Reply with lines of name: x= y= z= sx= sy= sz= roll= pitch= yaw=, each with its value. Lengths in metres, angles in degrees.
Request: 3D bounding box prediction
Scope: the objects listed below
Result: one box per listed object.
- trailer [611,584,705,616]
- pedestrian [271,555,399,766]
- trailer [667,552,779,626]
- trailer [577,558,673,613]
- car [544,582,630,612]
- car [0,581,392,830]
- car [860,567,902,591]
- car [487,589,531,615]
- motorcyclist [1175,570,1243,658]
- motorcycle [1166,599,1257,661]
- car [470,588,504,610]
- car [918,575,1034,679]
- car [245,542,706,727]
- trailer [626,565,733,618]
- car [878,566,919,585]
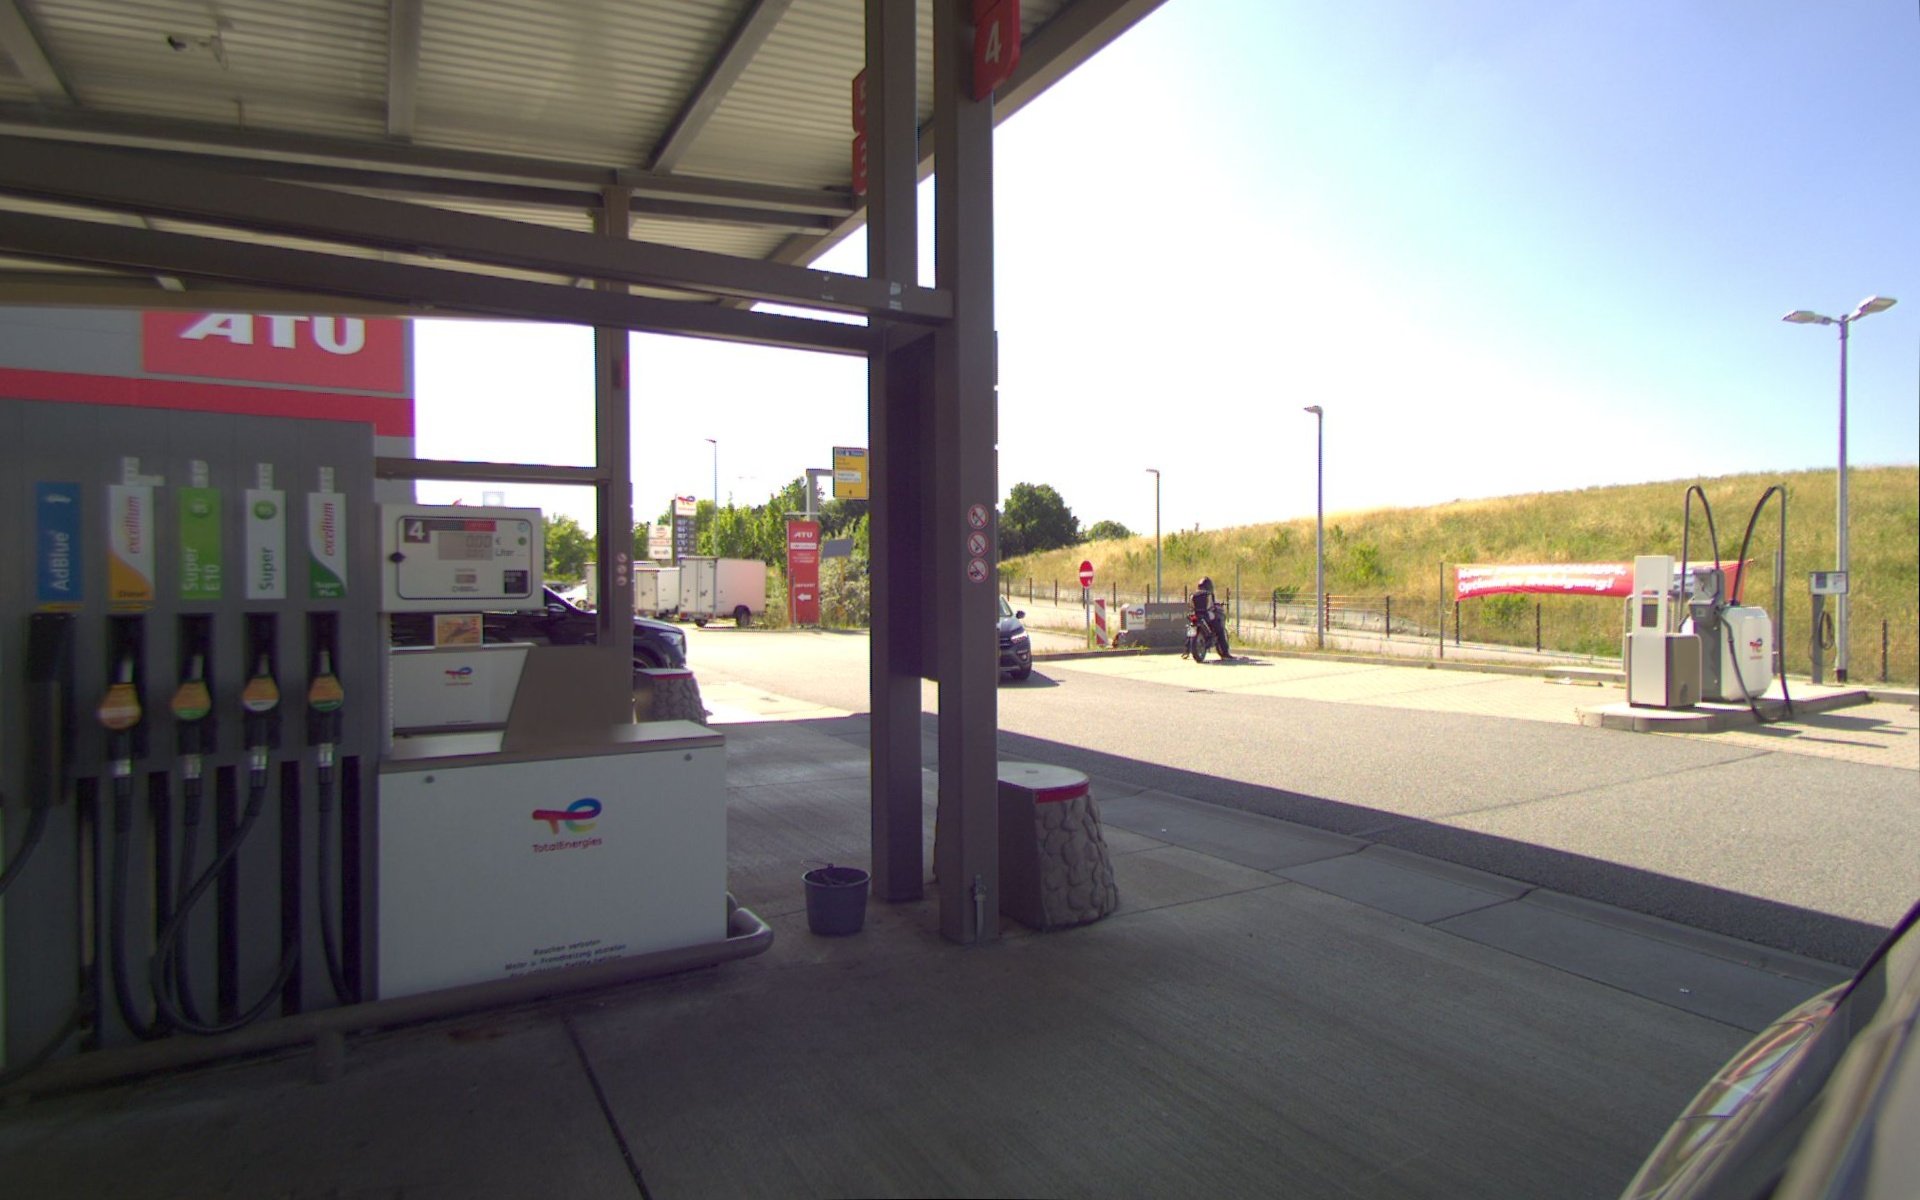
trailer: x=-12.770 y=-0.018 z=42.927 sx=1.568 sy=1.297 sz=3.673 roll=1 pitch=1 yaw=34
pedestrian: x=-5.408 y=0.487 z=8.809 sx=0.909 sy=1.724 sz=0.704 roll=0 pitch=0 yaw=-30
trailer: x=-8.345 y=-0.399 z=35.944 sx=1.976 sy=2.457 sz=3.971 roll=1 pitch=1 yaw=22
trailer: x=-15.649 y=-0.706 z=47.415 sx=1.985 sy=2.457 sz=3.955 roll=1 pitch=1 yaw=32
car: x=-17.774 y=-0.167 z=48.340 sx=1.664 sy=1.334 sz=3.802 roll=1 pitch=1 yaw=26
car: x=-6.199 y=0.618 z=6.766 sx=4.149 sy=1.487 sz=1.706 roll=0 pitch=1 yaw=-31
car: x=-5.259 y=-1.405 z=67.078 sx=1.671 sy=1.441 sz=4.105 roll=0 pitch=2 yaw=-21
car: x=-24.489 y=0.093 z=54.907 sx=1.648 sy=1.334 sz=3.838 roll=0 pitch=1 yaw=-32
motorcyclist: x=5.020 y=0.256 z=20.384 sx=1.028 sy=1.709 sz=1.085 roll=1 pitch=1 yaw=35
motorcycle: x=5.140 y=0.570 z=20.561 sx=1.039 sy=1.119 sz=2.386 roll=1 pitch=2 yaw=35
car: x=-29.735 y=-0.085 z=63.584 sx=1.648 sy=1.319 sz=3.729 roll=0 pitch=1 yaw=-29
car: x=0.165 y=0.400 z=18.599 sx=1.709 sy=1.665 sz=4.636 roll=0 pitch=1 yaw=-4
car: x=-5.722 y=0.355 z=12.338 sx=4.702 sy=1.874 sz=2.036 roll=1 pitch=0 yaw=-31
trailer: x=-11.222 y=-0.356 z=40.698 sx=1.791 sy=2.039 sz=3.950 roll=0 pitch=1 yaw=35
car: x=-7.058 y=-2.799 z=115.905 sx=4.433 sy=2.039 sz=2.004 roll=0 pitch=0 yaw=-14
